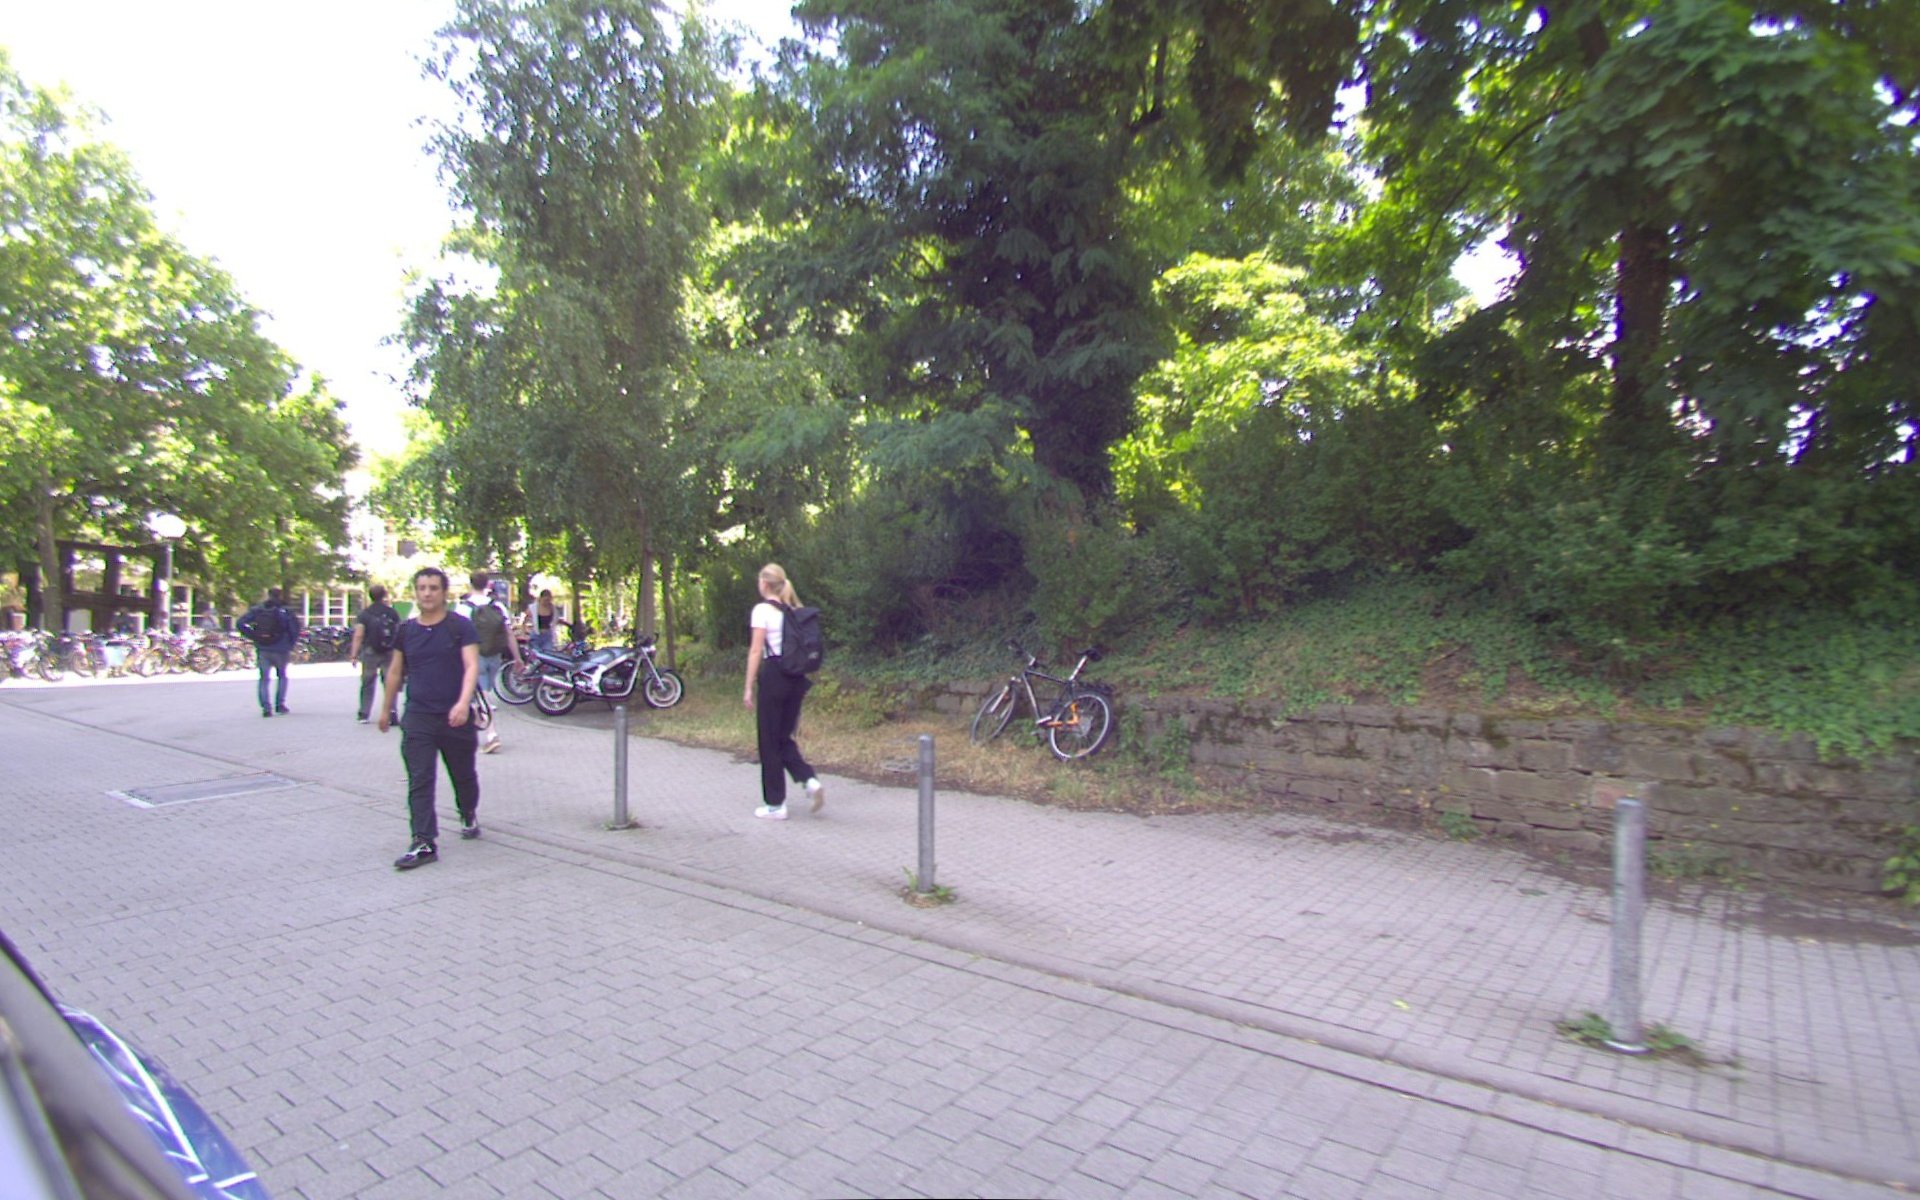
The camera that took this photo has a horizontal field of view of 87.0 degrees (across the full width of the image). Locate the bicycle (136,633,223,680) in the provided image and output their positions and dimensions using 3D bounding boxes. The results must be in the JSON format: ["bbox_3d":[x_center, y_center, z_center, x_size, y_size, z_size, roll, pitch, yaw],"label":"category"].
[{"bbox_3d":[-19.323,1.389,25.102,1.671,1.092,0.475,0,-1,-32],"label":"bicycle"}]

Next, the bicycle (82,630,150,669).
[{"bbox_3d":[-27.142,1.585,32.556,1.675,1.209,0.576,0,-1,-1],"label":"bicycle"}]

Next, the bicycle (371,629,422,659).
[{"bbox_3d":[-21.477,1.680,38.593,1.675,1.092,0.474,0,-1,-1],"label":"bicycle"}]

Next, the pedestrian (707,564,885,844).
[{"bbox_3d":[-1.112,0.649,6.865,0.999,1.741,0.677,0,0,34],"label":"pedestrian"}]

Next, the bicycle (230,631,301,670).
[{"bbox_3d":[-20.482,1.480,29.874,1.670,1.092,0.475,0,-1,-17],"label":"bicycle"}]

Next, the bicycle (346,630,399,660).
[{"bbox_3d":[-21.680,1.661,37.350,1.675,1.092,0.474,0,-1,-1],"label":"bicycle"}]

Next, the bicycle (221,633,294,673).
[{"bbox_3d":[-20.074,1.509,28.935,1.671,1.092,0.475,0,-1,-14],"label":"bicycle"}]

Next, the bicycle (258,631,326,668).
[{"bbox_3d":[-20.469,1.517,31.029,1.670,1.092,0.475,0,-1,-17],"label":"bicycle"}]

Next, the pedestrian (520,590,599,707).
[{"bbox_3d":[-6.108,0.737,15.478,0.925,1.737,0.677,-1,-2,2],"label":"pedestrian"}]

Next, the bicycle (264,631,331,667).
[{"bbox_3d":[-20.636,1.520,31.554,1.670,1.092,0.475,0,-1,-17],"label":"bicycle"}]

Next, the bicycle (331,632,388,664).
[{"bbox_3d":[-21.108,1.679,35.599,1.672,1.092,0.475,0,-1,-9],"label":"bicycle"}]

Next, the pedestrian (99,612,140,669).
[{"bbox_3d":[-27.317,1.320,32.903,0.701,1.820,0.769,-1,-1,5],"label":"pedestrian"}]

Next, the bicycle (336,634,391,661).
[{"bbox_3d":[-21.646,1.725,36.747,1.715,0.969,0.452,0,-1,-1],"label":"bicycle"}]

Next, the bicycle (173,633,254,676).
[{"bbox_3d":[-19.676,1.420,26.691,1.672,1.092,0.475,0,-1,-10],"label":"bicycle"}]

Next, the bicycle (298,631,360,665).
[{"bbox_3d":[-21.000,1.591,33.709,1.670,1.092,0.475,0,-1,-17],"label":"bicycle"}]

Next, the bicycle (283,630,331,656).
[{"bbox_3d":[-28.381,1.863,44.010,1.884,1.116,0.501,-1,-1,8],"label":"bicycle"}]

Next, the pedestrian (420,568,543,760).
[{"bbox_3d":[-5.011,0.636,10.600,1.079,1.895,0.718,-1,-1,34],"label":"pedestrian"}]

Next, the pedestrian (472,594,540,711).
[{"bbox_3d":[-6.958,0.800,15.543,0.721,1.737,0.686,-1,-2,2],"label":"pedestrian"}]

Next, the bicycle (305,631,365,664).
[{"bbox_3d":[-21.119,1.603,34.205,1.670,1.092,0.475,0,-1,-17],"label":"bicycle"}]

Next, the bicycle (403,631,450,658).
[{"bbox_3d":[-21.586,1.795,40.942,1.675,1.092,0.474,0,-1,-1],"label":"bicycle"}]

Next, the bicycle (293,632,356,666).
[{"bbox_3d":[-20.829,1.598,33.197,1.670,1.092,0.475,0,-1,-17],"label":"bicycle"}]

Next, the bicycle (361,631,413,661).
[{"bbox_3d":[-21.418,1.722,37.831,1.675,1.092,0.474,0,-1,-1],"label":"bicycle"}]

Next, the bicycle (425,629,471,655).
[{"bbox_3d":[-21.511,1.760,42.545,1.675,1.092,0.474,0,-1,-1],"label":"bicycle"}]

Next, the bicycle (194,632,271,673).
[{"bbox_3d":[-19.962,1.442,27.787,1.672,1.092,0.475,0,-1,-10],"label":"bicycle"}]

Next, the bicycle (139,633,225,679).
[{"bbox_3d":[-19.592,1.397,25.529,1.671,1.092,0.475,0,-1,-32],"label":"bicycle"}]

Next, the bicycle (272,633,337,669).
[{"bbox_3d":[-20.820,1.612,32.150,1.670,1.092,0.475,0,-1,-17],"label":"bicycle"}]

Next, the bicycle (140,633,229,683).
[{"bbox_3d":[-18.610,1.378,24.302,1.672,1.118,0.475,0,-1,-40],"label":"bicycle"}]

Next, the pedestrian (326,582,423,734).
[{"bbox_3d":[-7.625,0.720,13.175,1.118,1.887,0.677,0,-1,34],"label":"pedestrian"}]

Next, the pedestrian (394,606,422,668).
[{"bbox_3d":[-16.957,1.129,31.082,0.603,1.849,1.053,0,-1,-21],"label":"pedestrian"}]

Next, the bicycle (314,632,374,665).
[{"bbox_3d":[-21.175,1.670,34.814,1.670,1.092,0.475,0,-1,-17],"label":"bicycle"}]

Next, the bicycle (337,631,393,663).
[{"bbox_3d":[-21.229,1.679,36.121,1.672,1.092,0.475,0,-1,-9],"label":"bicycle"}]

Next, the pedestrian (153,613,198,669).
[{"bbox_3d":[-24.778,1.289,31.967,0.892,1.716,0.772,0,-1,-15],"label":"pedestrian"}]

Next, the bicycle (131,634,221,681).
[{"bbox_3d":[-19.034,1.384,24.602,1.696,1.092,0.475,0,-1,-37],"label":"bicycle"}]

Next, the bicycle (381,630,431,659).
[{"bbox_3d":[-21.446,1.719,39.187,1.675,1.092,0.474,0,-1,-1],"label":"bicycle"}]

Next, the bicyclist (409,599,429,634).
[{"bbox_3d":[-30.893,0.950,57.801,0.853,1.905,0.808,-4,2,-22],"label":"bicyclist"}]

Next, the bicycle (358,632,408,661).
[{"bbox_3d":[-22.722,1.836,39.863,1.675,1.092,0.474,0,-1,-1],"label":"bicycle"}]

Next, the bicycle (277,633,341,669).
[{"bbox_3d":[-20.971,1.637,32.606,1.670,1.092,0.475,0,-1,-17],"label":"bicycle"}]

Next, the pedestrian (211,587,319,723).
[{"bbox_3d":[-9.951,0.767,14.525,0.875,1.872,1.033,-1,-1,-5],"label":"pedestrian"}]

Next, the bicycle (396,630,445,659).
[{"bbox_3d":[-21.520,1.774,40.389,1.675,1.092,0.474,0,-1,-1],"label":"bicycle"}]

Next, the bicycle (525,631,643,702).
[{"bbox_3d":[-5.996,1.050,16.174,1.675,1.055,0.474,-2,0,-2],"label":"bicycle"}]

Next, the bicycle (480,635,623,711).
[{"bbox_3d":[-5.982,1.062,14.877,1.880,1.055,0.542,0,-1,-2],"label":"bicycle"}]

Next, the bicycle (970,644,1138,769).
[{"bbox_3d":[0.777,0.886,8.884,0.416,0.917,1.744,1,0,-36],"label":"bicycle"}]

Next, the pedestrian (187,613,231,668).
[{"bbox_3d":[-23.893,1.288,32.218,0.892,1.716,0.772,0,-1,-14],"label":"pedestrian"}]

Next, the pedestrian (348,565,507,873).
[{"bbox_3d":[-3.250,0.673,6.253,0.675,1.737,0.906,-1,-1,-15],"label":"pedestrian"}]
